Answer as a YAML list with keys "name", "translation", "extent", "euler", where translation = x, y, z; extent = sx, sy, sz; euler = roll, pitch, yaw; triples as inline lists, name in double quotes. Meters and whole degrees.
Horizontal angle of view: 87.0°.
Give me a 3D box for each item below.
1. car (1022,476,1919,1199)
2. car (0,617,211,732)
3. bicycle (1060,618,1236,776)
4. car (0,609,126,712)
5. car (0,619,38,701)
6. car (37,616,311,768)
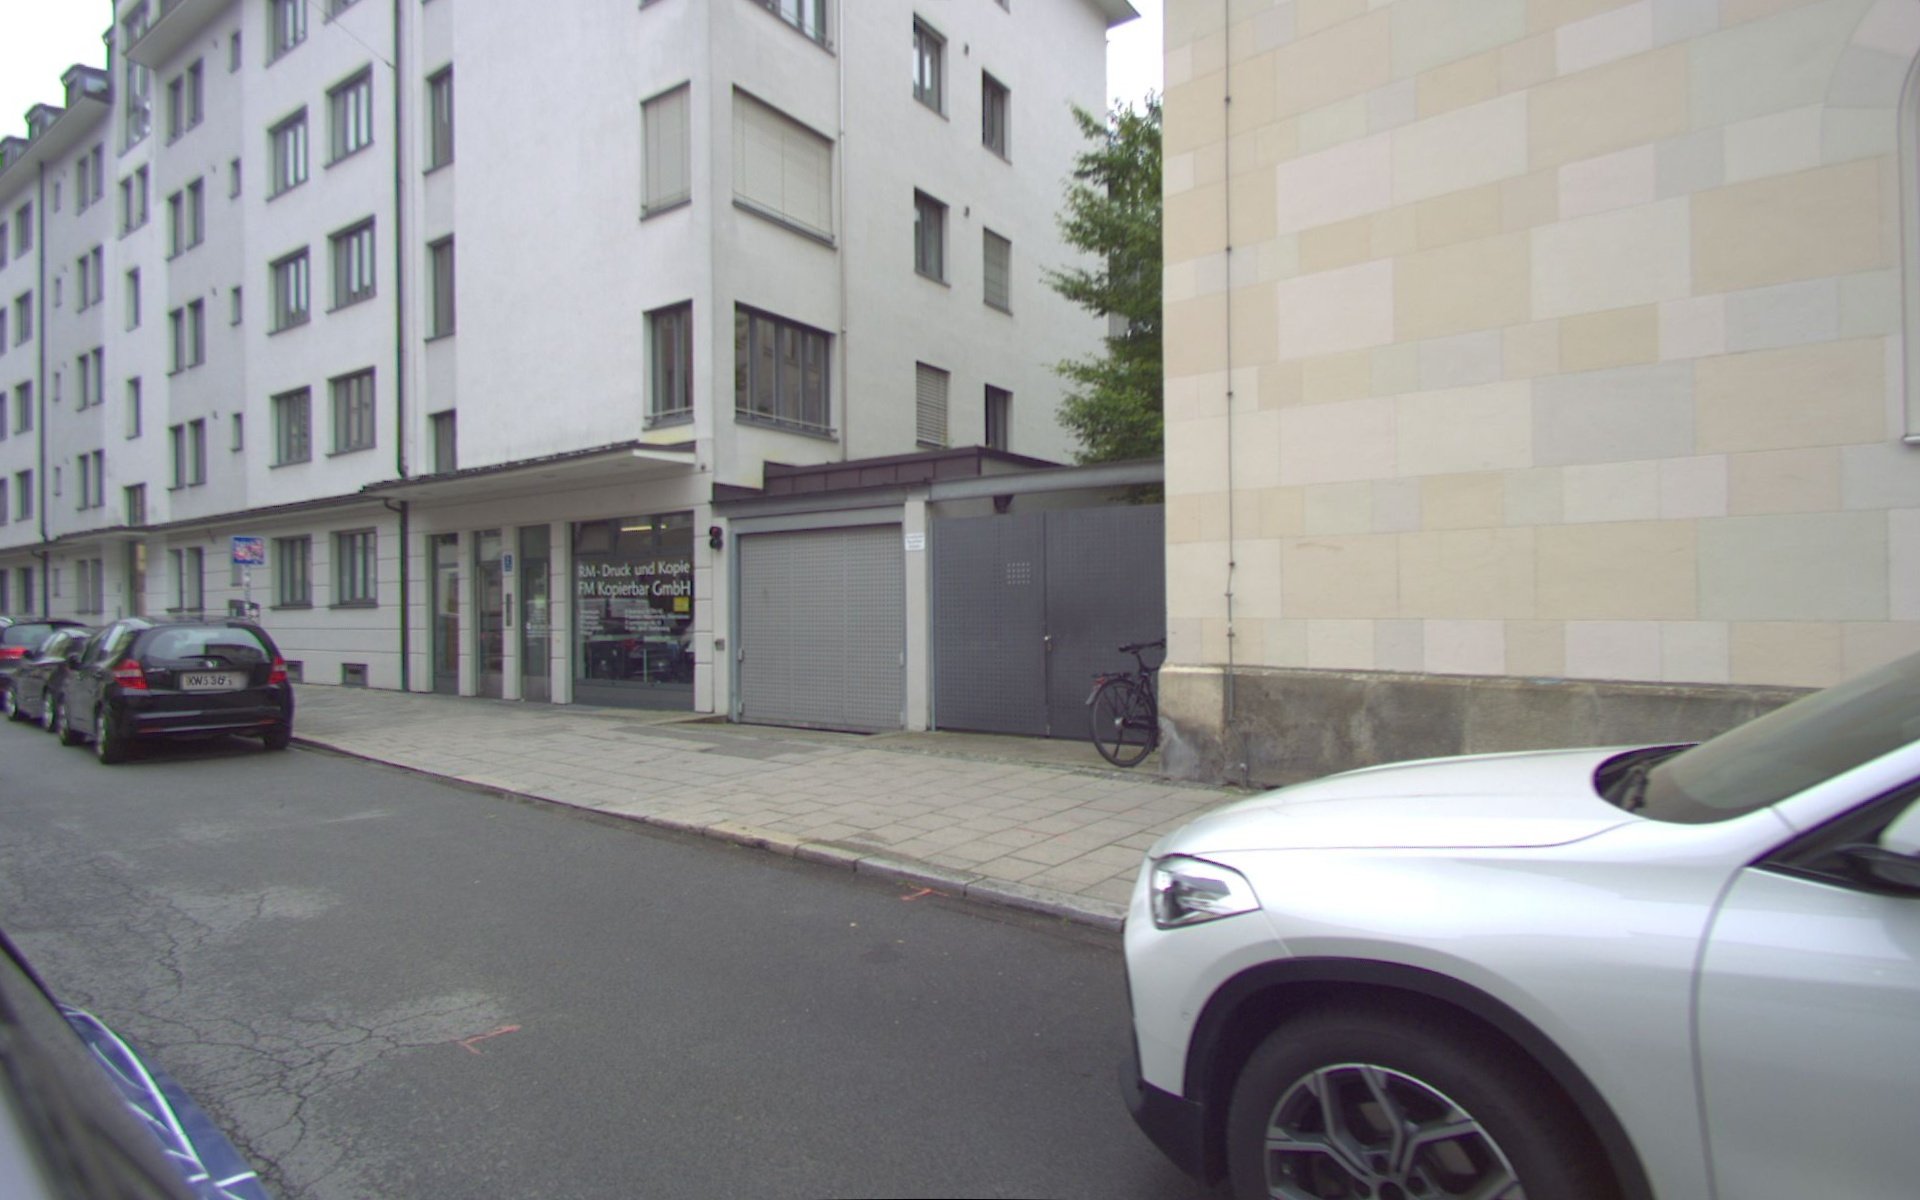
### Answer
- name: "car"
  translation: [2.316, 0.615, 1.707]
  extent: [4.208, 1.546, 1.760]
  euler: [-1, -2, 40]
- name: "car"
  translation: [-12.680, 1.046, 14.857]
  extent: [4.010, 1.464, 1.733]
  euler: [-3, -3, 39]
- name: "bicycle"
  translation: [1.603, 0.757, 8.470]
  extent: [1.690, 1.187, 0.476]
  euler: [0, -2, -41]
- name: "car"
  translation: [-16.906, 1.071, 18.250]
  extent: [4.070, 1.671, 1.856]
  euler: [-2, -3, 35]
- name: "car"
  translation: [-21.726, 1.287, 21.633]
  extent: [4.576, 1.671, 1.857]
  euler: [-2, -3, 33]
- name: "car"
  translation: [-9.213, 0.982, 11.761]
  extent: [4.012, 1.464, 1.732]
  euler: [-3, -3, 41]
